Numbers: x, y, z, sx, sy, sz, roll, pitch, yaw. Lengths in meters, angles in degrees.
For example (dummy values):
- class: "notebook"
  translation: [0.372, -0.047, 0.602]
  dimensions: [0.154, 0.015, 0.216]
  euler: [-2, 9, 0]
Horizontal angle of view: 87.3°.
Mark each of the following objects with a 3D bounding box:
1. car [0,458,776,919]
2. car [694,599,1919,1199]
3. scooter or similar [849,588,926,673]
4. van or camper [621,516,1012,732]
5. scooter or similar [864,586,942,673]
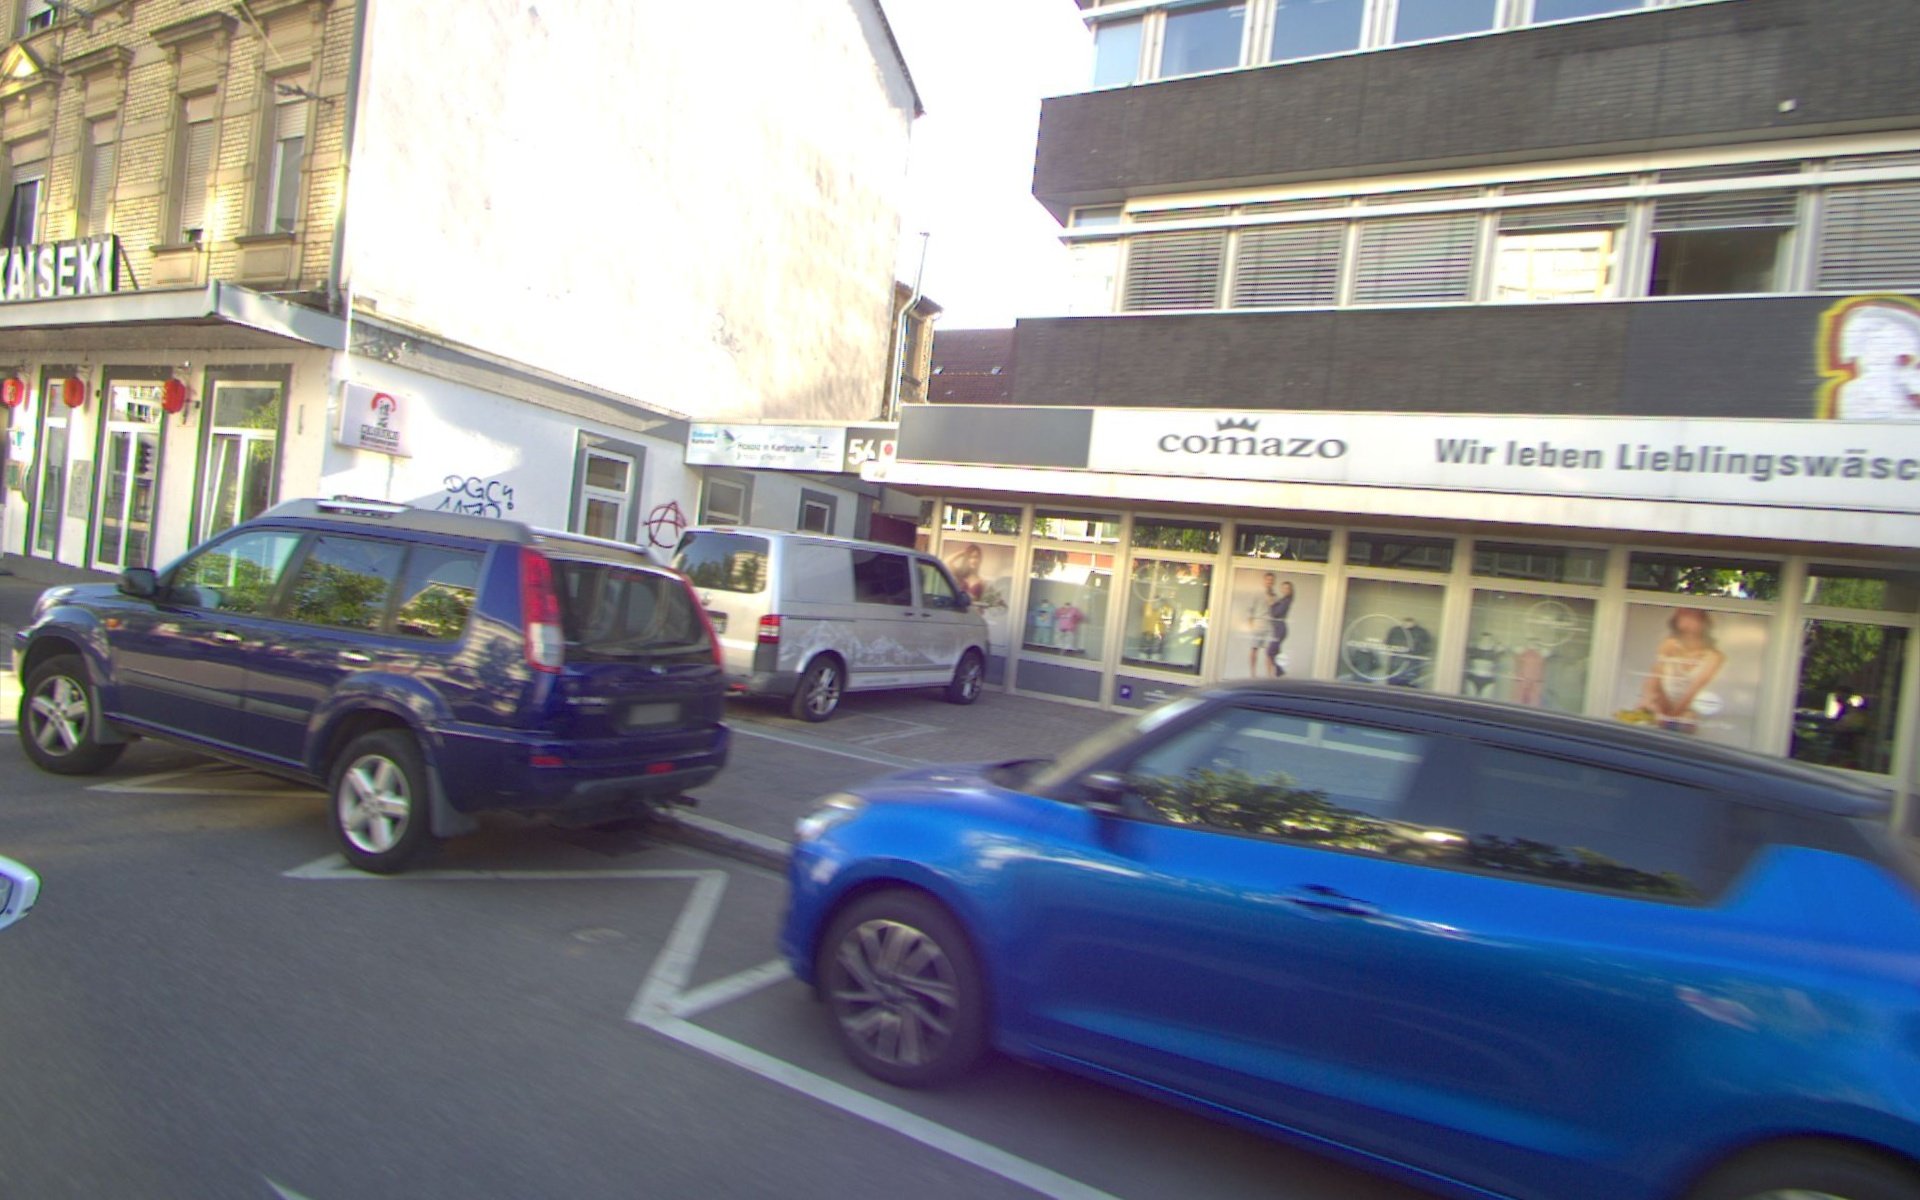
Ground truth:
- class: "car"
  translation: [-3.573, 0.315, 5.916]
  dimensions: [4.530, 1.733, 1.696]
  euler: [7, -1, 21]
- class: "car"
  translation: [1.157, 0.991, 3.474]
  dimensions: [3.713, 1.471, 1.718]
  euler: [7, -1, 28]
- class: "scooter or similar"
  translation: [-1.196, 0.515, 16.707]
  dimensions: [1.199, 1.281, 0.354]
  euler: [8, -2, -44]
- class: "van or camper"
  translation: [-1.458, 0.240, 12.118]
  dimensions: [1.967, 1.959, 4.691]
  euler: [7, 3, 32]
- class: "scooter or similar"
  translation: [-0.914, 0.496, 16.378]
  dimensions: [1.199, 1.281, 0.354]
  euler: [8, -2, -44]
